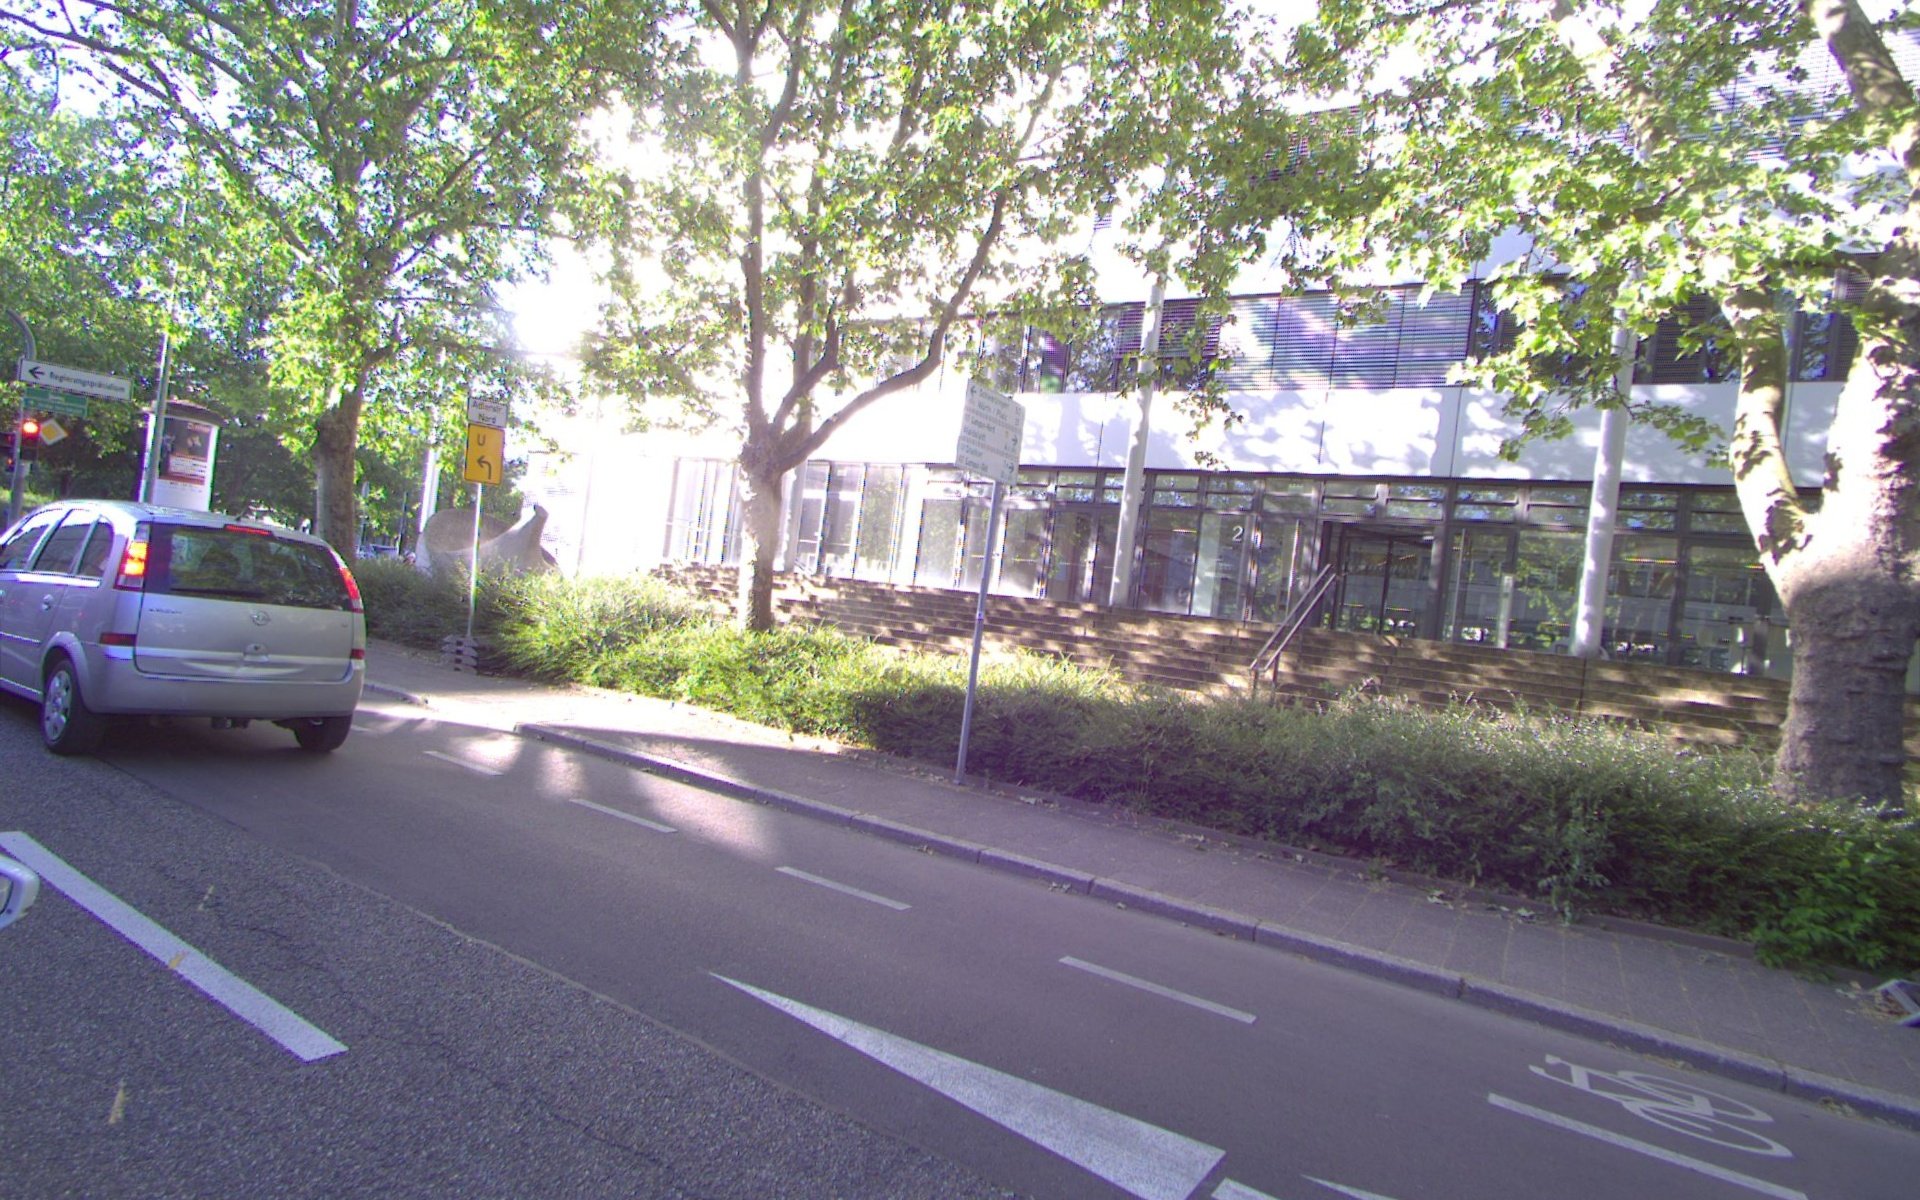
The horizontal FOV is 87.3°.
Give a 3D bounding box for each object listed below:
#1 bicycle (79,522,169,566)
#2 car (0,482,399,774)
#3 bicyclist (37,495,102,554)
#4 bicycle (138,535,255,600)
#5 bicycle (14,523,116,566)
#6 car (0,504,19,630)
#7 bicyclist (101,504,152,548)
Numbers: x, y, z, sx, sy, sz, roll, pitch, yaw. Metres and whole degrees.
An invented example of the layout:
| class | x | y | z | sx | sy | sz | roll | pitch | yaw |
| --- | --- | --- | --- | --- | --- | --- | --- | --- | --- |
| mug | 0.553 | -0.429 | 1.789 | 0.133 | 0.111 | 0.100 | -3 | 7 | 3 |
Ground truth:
| class | x | y | z | sx | sy | sz | roll | pitch | yaw |
| --- | --- | --- | --- | --- | --- | --- | --- | --- | --- |
| bicycle | -26.135 | -1.737 | 31.472 | 0.641 | 1.040 | 1.983 | 7 | -1 | 33 |
| car | -6.124 | 0.091 | 7.508 | 3.797 | 1.622 | 1.703 | 7 | -1 | 34 |
| bicyclist | -25.572 | -2.167 | 28.912 | 0.700 | 1.508 | 1.118 | 7 | -1 | 31 |
| bicycle | -15.989 | -0.663 | 21.108 | 0.502 | 1.110 | 1.806 | 7 | -1 | 34 |
| bicycle | -25.671 | -1.575 | 28.887 | 0.721 | 0.914 | 1.990 | 7 | -1 | 30 |
| car | -13.770 | -0.706 | 12.406 | 4.592 | 1.481 | 1.917 | 7 | -2 | 32 |
| bicyclist | -26.074 | -2.310 | 31.461 | 0.610 | 1.168 | 0.992 | 7 | -1 | 33 |
